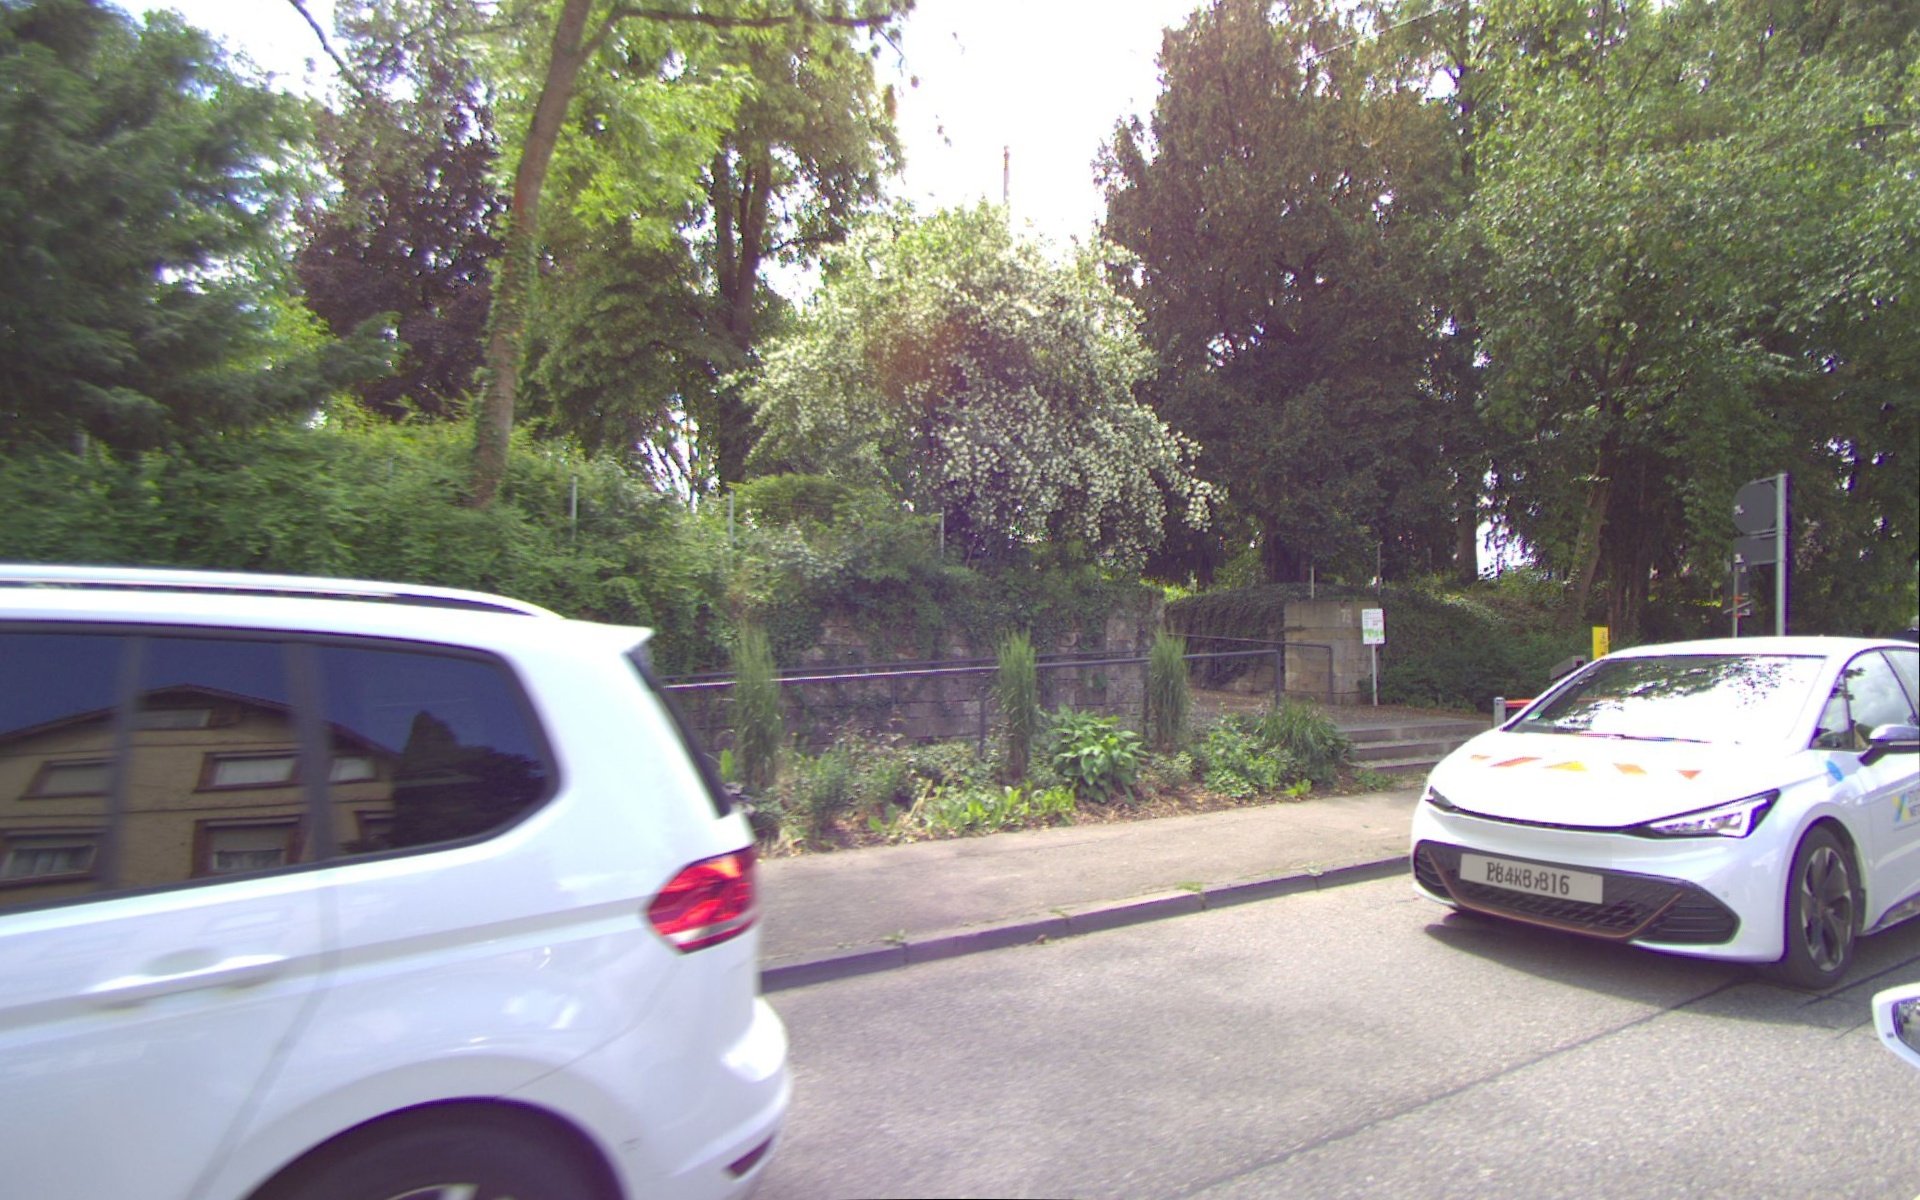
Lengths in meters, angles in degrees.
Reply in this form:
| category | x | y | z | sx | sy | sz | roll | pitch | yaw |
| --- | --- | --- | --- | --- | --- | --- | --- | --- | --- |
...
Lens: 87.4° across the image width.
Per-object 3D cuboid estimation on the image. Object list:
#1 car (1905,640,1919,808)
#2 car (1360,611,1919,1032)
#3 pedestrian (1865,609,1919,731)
| category | x | y | z | sx | sy | sz | roll | pitch | yaw |
| --- | --- | --- | --- | --- | --- | --- | --- | --- | --- |
| car | 11.177 | 1.125 | 9.671 | 4.211 | 1.562 | 1.782 | 1 | -4 | -29 |
| car | 4.395 | 0.927 | 5.695 | 4.105 | 1.612 | 1.777 | 1 | -4 | -30 |
| pedestrian | 14.349 | 1.048 | 15.221 | 1.111 | 1.785 | 0.709 | 2 | -2 | -36 |
